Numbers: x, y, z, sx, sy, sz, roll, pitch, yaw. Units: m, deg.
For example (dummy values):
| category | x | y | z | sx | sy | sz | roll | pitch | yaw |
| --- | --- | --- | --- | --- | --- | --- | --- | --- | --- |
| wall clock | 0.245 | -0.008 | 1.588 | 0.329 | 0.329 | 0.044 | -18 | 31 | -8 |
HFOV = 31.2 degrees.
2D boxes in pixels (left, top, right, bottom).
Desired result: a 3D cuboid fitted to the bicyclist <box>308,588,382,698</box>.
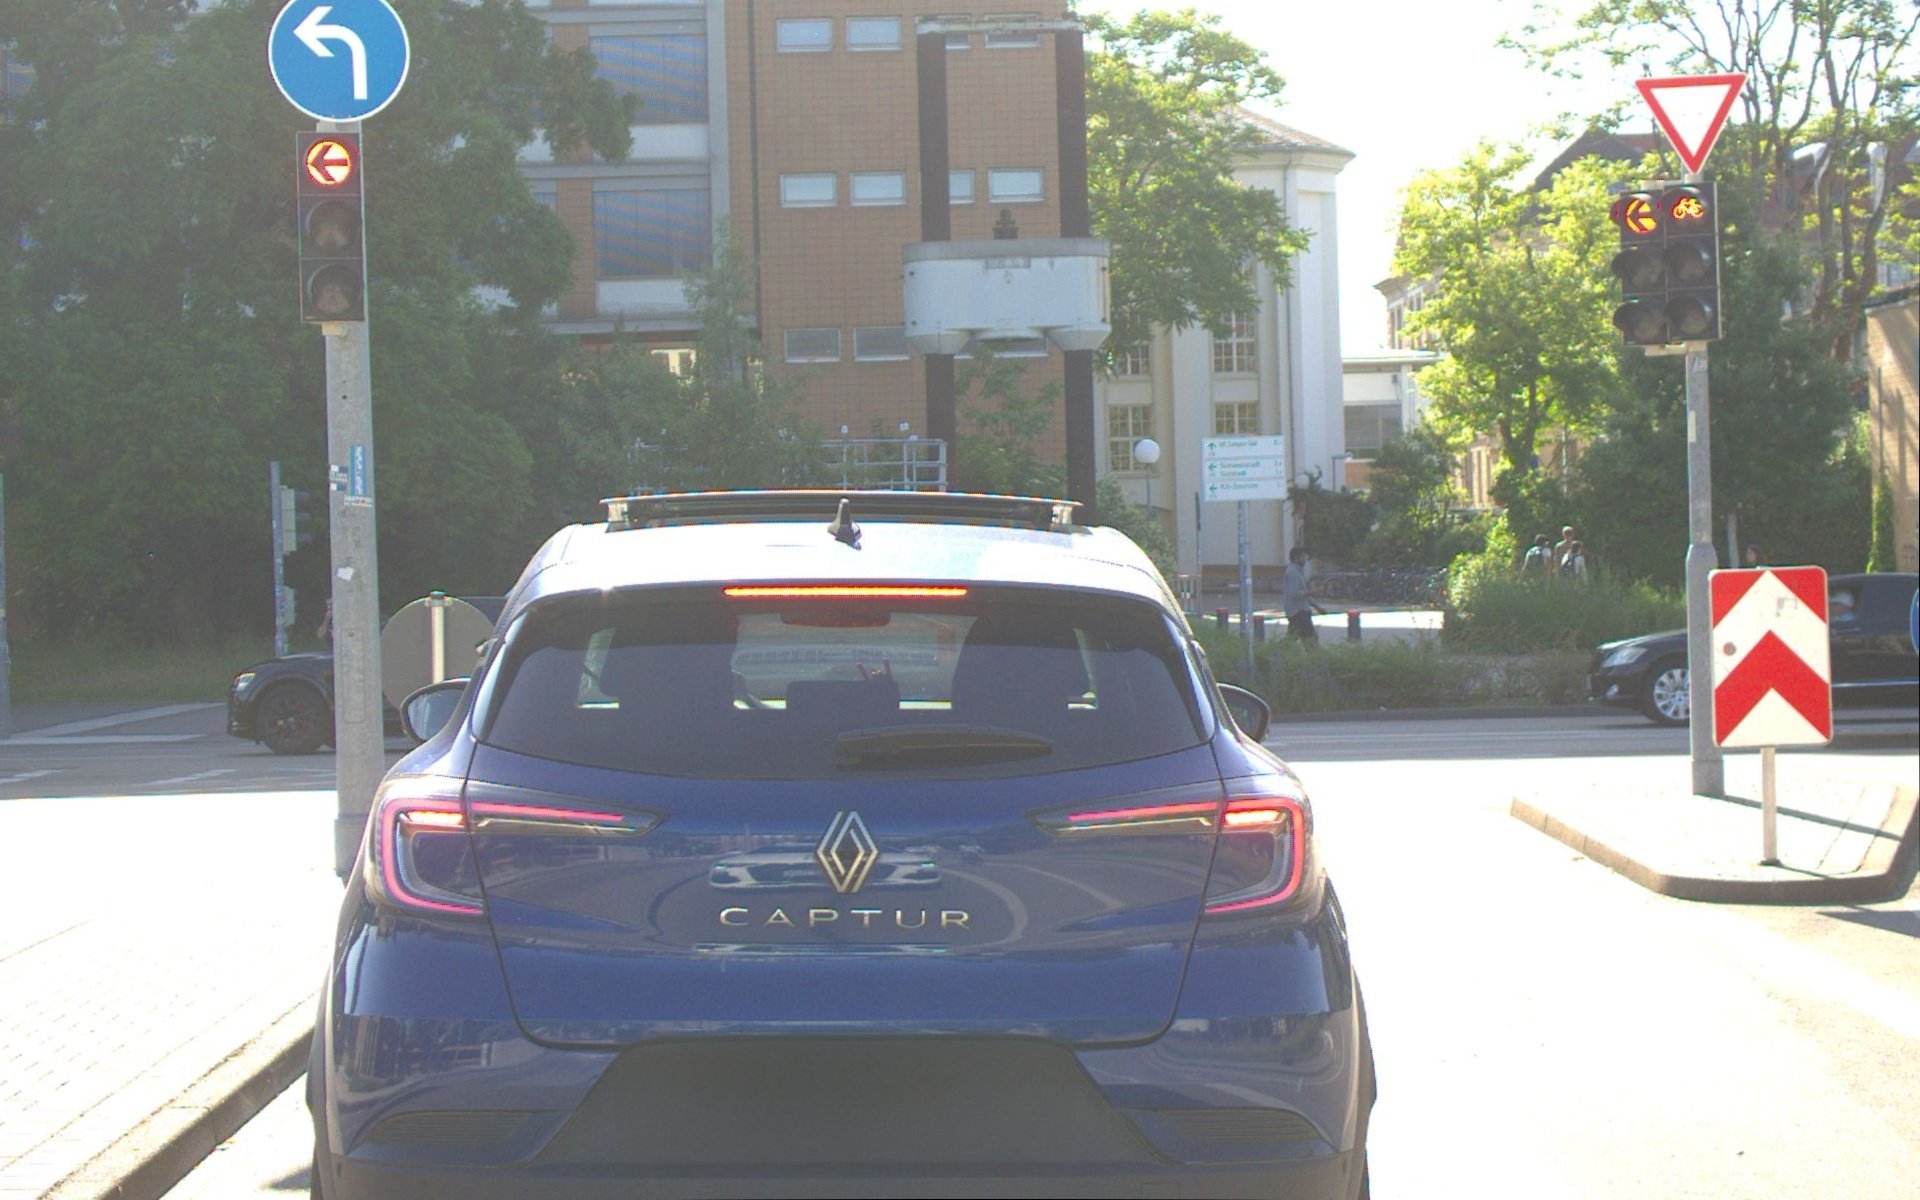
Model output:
| category | x | y | z | sx | sy | sz | roll | pitch | yaw |
| --- | --- | --- | --- | --- | --- | --- | --- | --- | --- |
| bicyclist | -8.007 | 0.560 | 44.764 | 0.648 | 1.407 | 0.637 | -3 | -2 | 34 |

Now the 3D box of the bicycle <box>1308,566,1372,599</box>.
| category | x | y | z | sx | sy | sz | roll | pitch | yaw |
| --- | --- | --- | --- | --- | --- | --- | --- | --- | --- |
| bicycle | 11.056 | -0.511 | 100.094 | 1.771 | 0.890 | 0.765 | -1 | 1 | 0 |

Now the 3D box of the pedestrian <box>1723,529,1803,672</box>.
| category | x | y | z | sx | sy | sz | roll | pitch | yaw |
| --- | --- | --- | --- | --- | --- | --- | --- | --- | --- |
| pedestrian | 10.536 | 0.002 | 45.150 | 0.932 | 1.849 | 0.807 | -1 | 1 | 9 |

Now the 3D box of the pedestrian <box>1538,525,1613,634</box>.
| category | x | y | z | sx | sy | sz | roll | pitch | yaw |
| --- | --- | --- | --- | --- | --- | --- | --- | --- | --- |
| pedestrian | 11.541 | -0.391 | 64.542 | 1.156 | 2.007 | 1.164 | -1 | 1 | 0 |

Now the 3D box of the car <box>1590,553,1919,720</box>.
| category | x | y | z | sx | sy | sz | roll | pitch | yaw |
| --- | --- | --- | --- | --- | --- | --- | --- | --- | --- |
| car | 8.928 | 0.339 | 34.885 | 4.843 | 1.576 | 2.101 | -1 | 1 | 7 |

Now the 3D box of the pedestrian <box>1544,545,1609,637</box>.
| category | x | y | z | sx | sy | sz | roll | pitch | yaw |
| --- | --- | --- | --- | --- | --- | --- | --- | --- | --- |
| pedestrian | 11.113 | -0.170 | 61.997 | 0.936 | 1.607 | 1.176 | -1 | 1 | 0 |

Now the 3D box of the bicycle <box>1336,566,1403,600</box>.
| category | x | y | z | sx | sy | sz | roll | pitch | yaw |
| --- | --- | --- | --- | --- | --- | --- | --- | --- | --- |
| bicycle | 11.395 | -0.476 | 95.730 | 1.771 | 0.895 | 0.765 | -1 | 1 | 0 |

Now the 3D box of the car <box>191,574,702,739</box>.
| category | x | y | z | sx | sy | sz | roll | pitch | yaw |
| --- | --- | --- | --- | --- | --- | --- | --- | --- | --- |
| car | -5.484 | 0.615 | 36.985 | 5.032 | 1.667 | 1.999 | 1 | -2 | 11 |

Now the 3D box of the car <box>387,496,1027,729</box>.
| category | x | y | z | sx | sy | sz | roll | pitch | yaw |
| --- | --- | --- | --- | --- | --- | --- | --- | --- | --- |
| car | -2.930 | 0.139 | 40.749 | 6.939 | 2.538 | 3.011 | -1 | 1 | 13 |

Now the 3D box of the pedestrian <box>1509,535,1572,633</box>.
| category | x | y | z | sx | sy | sz | roll | pitch | yaw |
| --- | --- | --- | --- | --- | --- | --- | --- | --- | --- |
| pedestrian | 10.533 | -0.294 | 62.402 | 0.953 | 1.735 | 0.984 | -1 | 1 | 0 |

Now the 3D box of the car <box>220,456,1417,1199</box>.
| category | x | y | z | sx | sy | sz | roll | pitch | yaw |
| --- | --- | --- | --- | --- | --- | --- | --- | --- | --- |
| car | -0.264 | 0.576 | 7.104 | 1.794 | 1.649 | 3.853 | 0 | 1 | -2 |

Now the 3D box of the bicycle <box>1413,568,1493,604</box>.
| category | x | y | z | sx | sy | sz | roll | pitch | yaw |
| --- | --- | --- | --- | --- | --- | --- | --- | --- | --- |
| bicycle | 12.026 | -0.350 | 83.928 | 1.770 | 0.820 | 0.766 | -1 | 1 | -10 |

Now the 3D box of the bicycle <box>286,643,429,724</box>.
| category | x | y | z | sx | sy | sz | roll | pitch | yaw |
| --- | --- | --- | --- | --- | --- | --- | --- | --- | --- |
| bicycle | -7.867 | 1.082 | 44.955 | 0.699 | 1.004 | 1.864 | -4 | -2 | 35 |

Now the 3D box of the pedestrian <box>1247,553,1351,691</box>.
| category | x | y | z | sx | sy | sz | roll | pitch | yaw |
| --- | --- | --- | --- | --- | --- | --- | --- | --- | --- |
| pedestrian | 4.641 | 0.294 | 47.030 | 1.298 | 1.849 | 0.965 | -1 | 1 | 11 |
